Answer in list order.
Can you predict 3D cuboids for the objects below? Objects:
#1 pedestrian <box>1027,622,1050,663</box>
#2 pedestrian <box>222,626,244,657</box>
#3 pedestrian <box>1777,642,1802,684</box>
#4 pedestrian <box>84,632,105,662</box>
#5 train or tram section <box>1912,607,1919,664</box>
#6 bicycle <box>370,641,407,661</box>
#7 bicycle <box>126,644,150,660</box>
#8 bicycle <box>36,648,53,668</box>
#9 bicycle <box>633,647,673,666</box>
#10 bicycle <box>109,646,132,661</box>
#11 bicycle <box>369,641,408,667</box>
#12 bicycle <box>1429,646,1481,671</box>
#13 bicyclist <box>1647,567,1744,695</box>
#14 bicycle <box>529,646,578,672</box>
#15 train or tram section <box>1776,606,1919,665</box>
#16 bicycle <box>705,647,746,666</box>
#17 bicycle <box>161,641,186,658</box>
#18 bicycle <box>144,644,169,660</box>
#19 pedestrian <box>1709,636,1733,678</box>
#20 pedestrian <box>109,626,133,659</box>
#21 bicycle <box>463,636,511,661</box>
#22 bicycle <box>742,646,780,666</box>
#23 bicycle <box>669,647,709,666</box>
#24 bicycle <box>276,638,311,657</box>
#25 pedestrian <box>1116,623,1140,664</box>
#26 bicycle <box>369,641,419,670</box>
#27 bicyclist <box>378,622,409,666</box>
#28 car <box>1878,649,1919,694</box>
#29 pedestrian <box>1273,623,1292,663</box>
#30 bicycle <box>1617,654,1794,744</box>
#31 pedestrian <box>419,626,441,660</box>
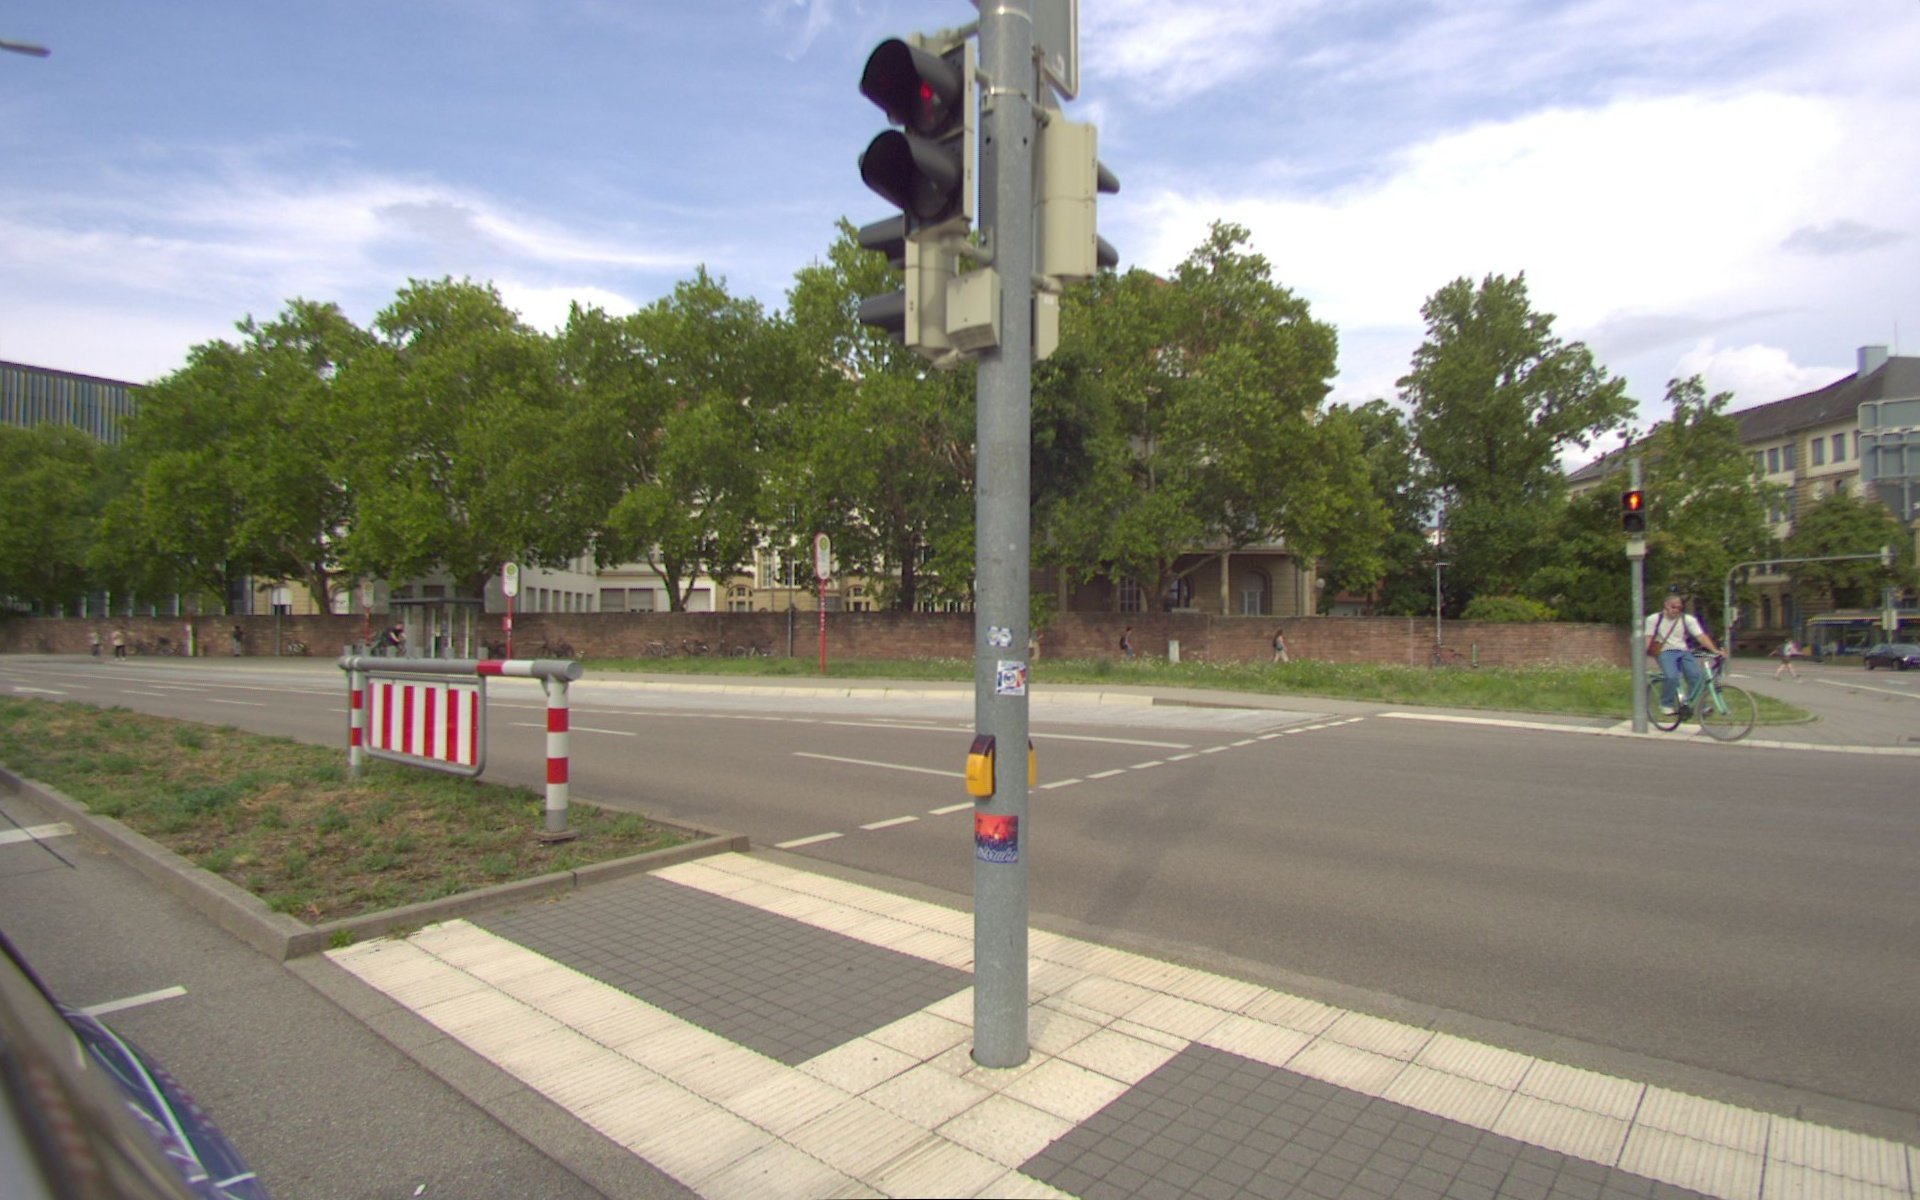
[{"bbox_3d":[3.306,1.766,42.469,0.769,1.667,0.579,-1,0,-18],"label":"pedestrian"},{"bbox_3d":[-38.793,2.205,54.002,0.655,1.634,0.756,-1,0,-5],"label":"pedestrian"},{"bbox_3d":[35.501,2.689,43.324,0.799,1.724,0.829,-1,-1,38],"label":"pedestrian"},{"bbox_3d":[-48.193,2.611,56.354,0.663,1.634,0.747,-1,-1,30],"label":"pedestrian"},{"bbox_3d":[56.759,1.985,53.851,3.018,3.237,9.434,-1,0,-2],"label":"train or tram section"},{"bbox_3d":[-28.409,2.539,50.301,1.562,0.894,0.658,-2,1,17],"label":"bicycle"},{"bbox_3d":[-47.355,3.002,58.319,1.567,0.894,0.429,-2,1,26],"label":"bicycle"},{"bbox_3d":[-57.590,3.627,63.673,1.393,1.218,0.507,-1,-1,36],"label":"bicycle"},{"bbox_3d":[-14.098,2.600,46.479,1.804,0.871,0.357,-1,-4,14],"label":"bicycle"},{"bbox_3d":[-49.055,3.127,59.125,1.567,0.894,0.429,-2,1,26],"label":"bicycle"},{"bbox_3d":[-27.578,2.626,48.845,0.747,1.198,2.100,0,-4,-3],"label":"bicycle"},{"bbox_3d":[21.620,2.541,44.226,1.895,1.012,0.781,-1,0,-9],"label":"bicycle"},{"bbox_3d":[9.291,0.381,12.810,0.570,1.567,0.800,1,-1,-10],"label":"bicyclist"},{"bbox_3d":[-19.055,2.786,47.405,2.079,1.198,0.755,-1,-5,15],"label":"bicycle"},{"bbox_3d":[56.374,2.085,63.126,3.018,3.302,9.374,-1,0,-2],"label":"train or tram section"},{"bbox_3d":[-10.547,2.540,45.474,1.875,0.871,0.357,-1,-5,18],"label":"bicycle"},{"bbox_3d":[-44.004,2.780,56.635,1.567,0.894,0.429,-2,1,26],"label":"bicycle"},{"bbox_3d":[-45.834,2.976,57.732,1.567,0.894,0.429,-2,1,26],"label":"bicycle"},{"bbox_3d":[32.377,2.432,43.066,0.799,1.724,0.829,-1,-1,38],"label":"pedestrian"},{"bbox_3d":[-42.792,2.168,51.636,0.663,1.634,0.747,-1,-1,30],"label":"pedestrian"},{"bbox_3d":[-22.683,2.333,48.555,2.079,1.198,0.755,-1,-5,15],"label":"bicycle"},{"bbox_3d":[-8.956,2.515,45.519,1.690,0.871,0.357,-1,-4,11],"label":"bicycle"},{"bbox_3d":[-12.330,2.571,46.021,1.793,0.871,0.357,-1,-5,16],"label":"bicycle"},{"bbox_3d":[-34.603,2.463,52.545,1.562,0.894,0.658,-2,1,17],"label":"bicycle"},{"bbox_3d":[7.036,1.822,42.351,0.768,1.667,0.579,-1,-1,-24],"label":"pedestrian"},{"bbox_3d":[-20.680,2.020,36.950,1.959,0.943,0.502,1,-1,24],"label":"bicycle"},{"bbox_3d":[-20.696,1.609,36.968,0.792,1.567,0.576,1,-1,21],"label":"bicyclist"},{"bbox_3d":[49.431,3.662,52.204,1.989,2.029,3.965,-1,0,26],"label":"car"},{"bbox_3d":[13.829,1.825,43.346,0.621,1.667,0.531,-1,0,2],"label":"pedestrian"},{"bbox_3d":[9.283,1.198,12.709,0.498,0.943,1.976,1,0,-10],"label":"bicycle"},{"bbox_3d":[-25.850,2.104,49.360,0.747,1.634,0.566,-1,0,14],"label":"pedestrian"}]
